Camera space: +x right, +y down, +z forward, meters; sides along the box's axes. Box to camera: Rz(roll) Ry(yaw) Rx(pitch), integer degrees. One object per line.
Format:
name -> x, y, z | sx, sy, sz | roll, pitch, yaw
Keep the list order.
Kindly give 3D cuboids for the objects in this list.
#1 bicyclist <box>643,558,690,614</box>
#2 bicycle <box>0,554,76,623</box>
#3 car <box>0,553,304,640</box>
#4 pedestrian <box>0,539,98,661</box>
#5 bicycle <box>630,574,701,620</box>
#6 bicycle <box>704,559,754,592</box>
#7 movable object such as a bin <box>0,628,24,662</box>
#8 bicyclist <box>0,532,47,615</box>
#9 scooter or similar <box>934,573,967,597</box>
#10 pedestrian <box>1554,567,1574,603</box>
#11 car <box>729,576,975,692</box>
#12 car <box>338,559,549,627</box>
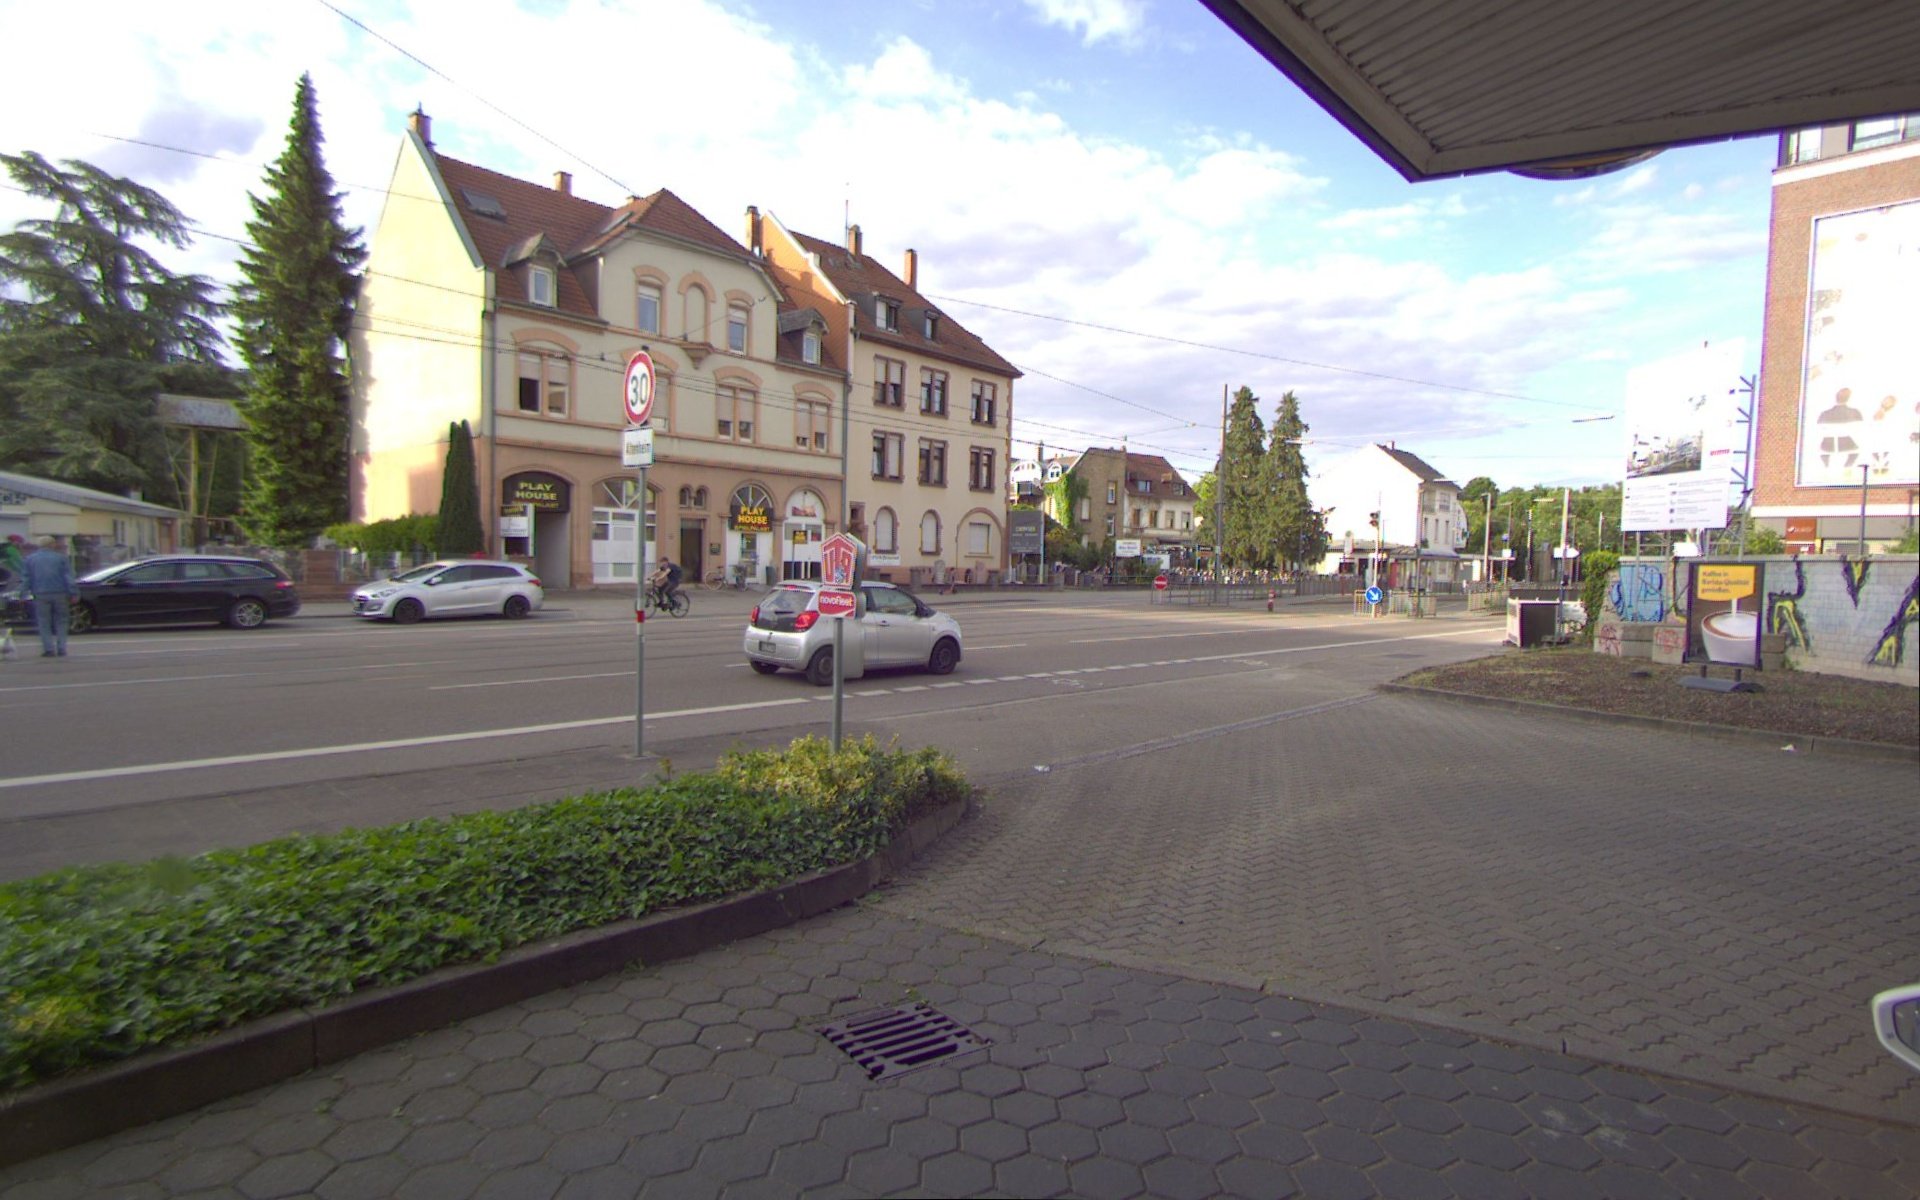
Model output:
bicyclist -> -8.252, -0.403, 28.234 | 0.669, 1.555, 1.082 | 1, 2, 35
bicycle -> -19.376, -0.241, 20.508 | 0.853, 1.329, 1.910 | 6, 4, 40
car -> -16.595, -0.135, 20.732 | 1.983, 1.520, 4.755 | 4, 4, 39
pedestrian -> -13.177, -0.016, 14.559 | 0.995, 1.690, 0.960 | 0, 3, -40
bicycle -> -8.258, -0.109, 28.238 | 0.669, 1.239, 1.913 | 1, 2, 35
bicycle -> -9.100, -0.947, 39.607 | 0.665, 1.229, 1.862 | 4, 2, 41
movable object such as a bin -> -13.419, 0.626, 13.987 | 0.669, 0.426, 0.479 | 3, 3, 40
bicyclist -> -19.368, -0.540, 20.470 | 0.853, 1.627, 1.023 | 6, 4, 40
scooter or similar -> -0.430, -0.655, 45.108 | 0.461, 1.041, 1.655 | 4, 3, 40
pedestrian -> 34.999, -0.862, 58.225 | 0.797, 2.040, 0.845 | 2, 0, 44
car -> -1.559, 0.425, 15.204 | 1.666, 1.452, 3.406 | 5, 4, 43
car -> -12.914, -0.230, 25.353 | 1.699, 1.503, 4.434 | 4, 4, 40
